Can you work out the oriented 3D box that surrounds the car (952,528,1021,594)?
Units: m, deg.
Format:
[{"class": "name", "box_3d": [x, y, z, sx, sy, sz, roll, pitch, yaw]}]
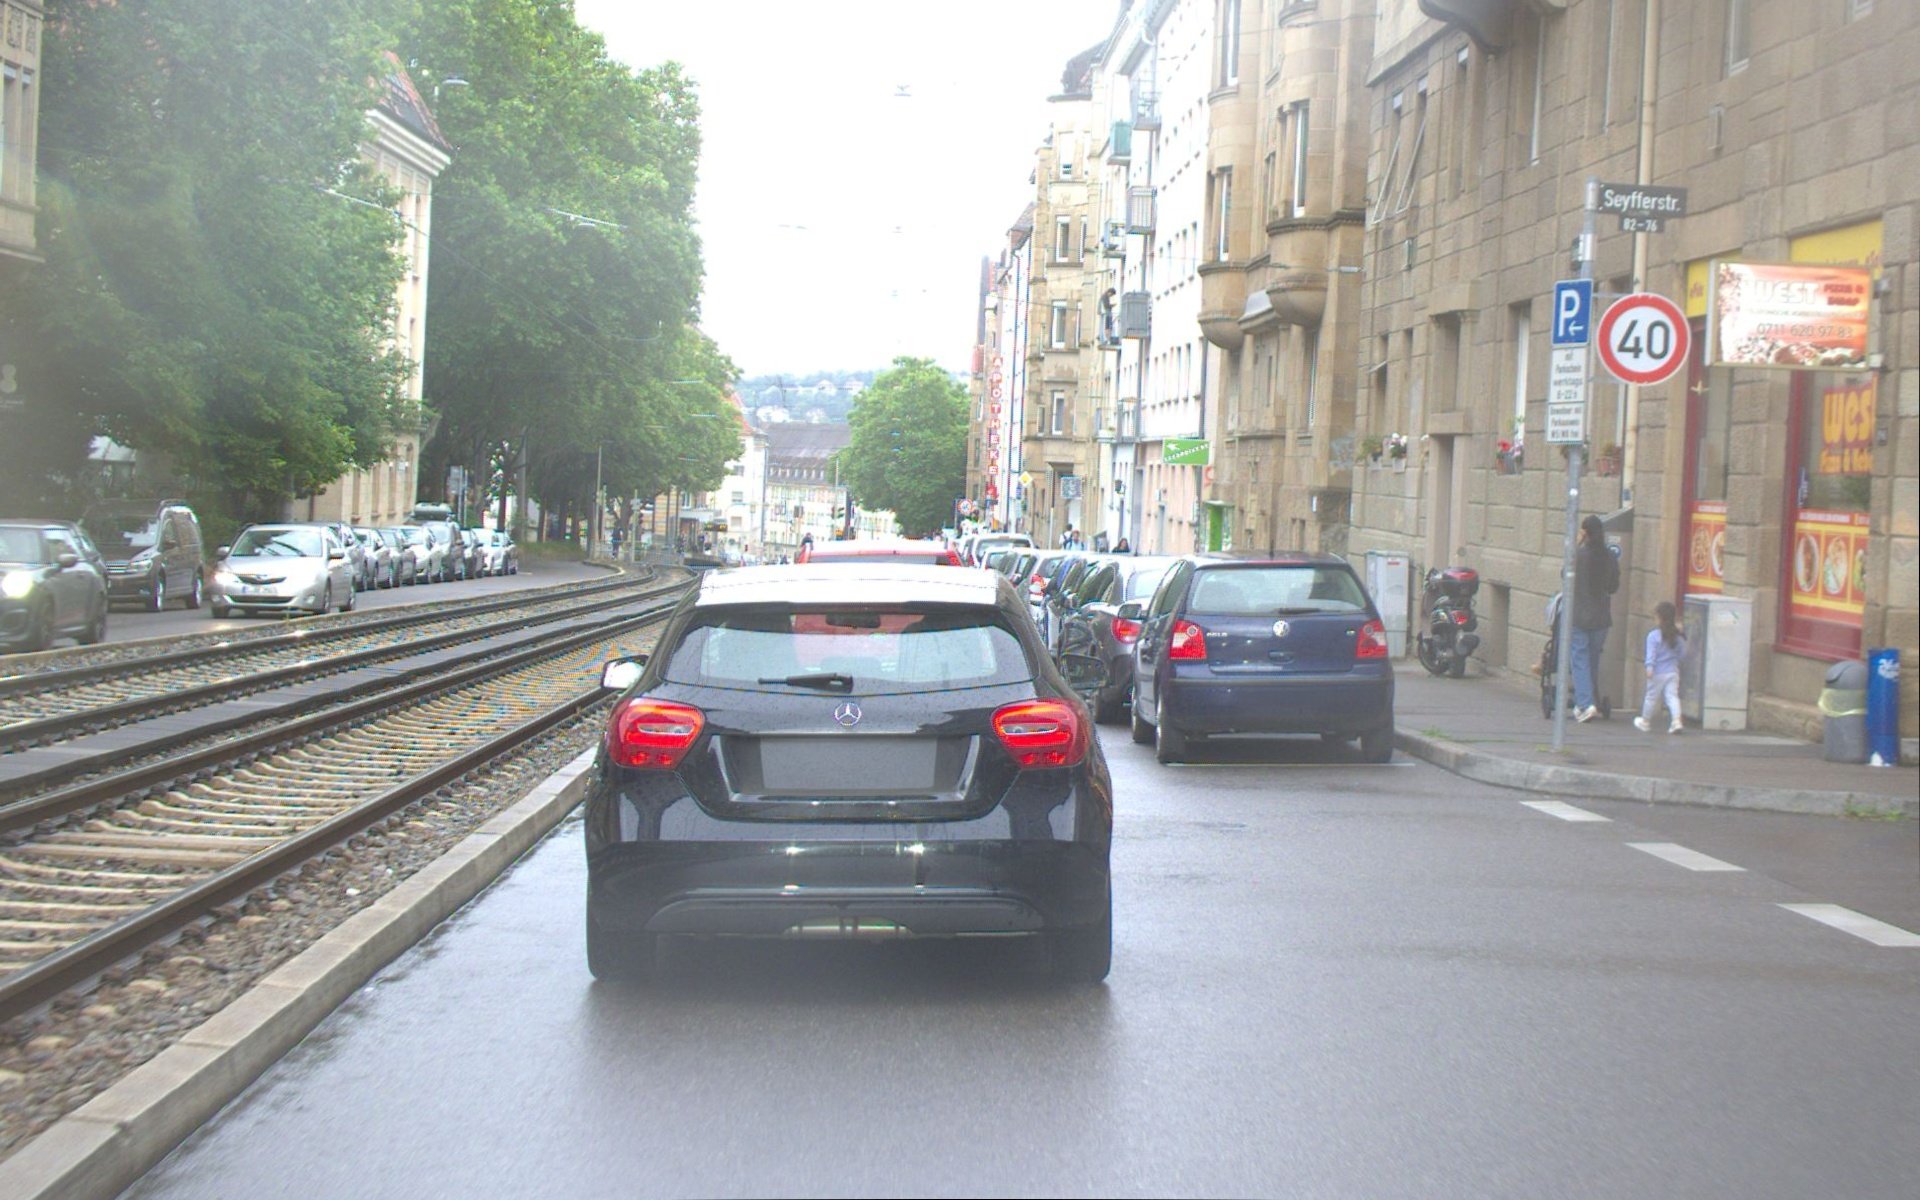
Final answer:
[{"class": "car", "box_3d": [0.733, -1.097, 96.040, 1.828, 1.744, 4.467, 2, 1, 0]}]

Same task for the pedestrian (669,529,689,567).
[{"class": "pedestrian", "box_3d": [-12.084, -2.224, 147.735, 0.806, 1.628, 0.892, 0, 1, 0]}]

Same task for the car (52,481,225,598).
[{"class": "car", "box_3d": [-13.535, -1.003, 56.891, 1.800, 1.840, 4.819, 1, 1, -1]}]

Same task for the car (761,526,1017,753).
[{"class": "car", "box_3d": [-0.545, 0.249, 26.607, 1.785, 1.575, 4.000, 2, 1, -1]}]

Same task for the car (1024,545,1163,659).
[{"class": "car", "box_3d": [1.734, 0.001, 45.496, 1.543, 1.410, 3.447, 2, 1, -2]}]

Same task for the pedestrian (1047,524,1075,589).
[{"class": "pedestrian", "box_3d": [2.885, -1.250, 98.429, 0.746, 1.827, 1.039, -1, 1, 0]}]

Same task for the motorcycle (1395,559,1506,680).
[{"class": "motorcycle", "box_3d": [5.201, 0.183, 36.581, 0.705, 1.194, 2.746, 2, 1, -1]}]

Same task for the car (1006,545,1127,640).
[{"class": "car", "box_3d": [1.675, -0.145, 54.972, 1.590, 1.429, 3.685, 1, 1, -3]}]

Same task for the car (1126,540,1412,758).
[{"class": "car", "box_3d": [2.149, 0.292, 24.787, 1.671, 1.439, 3.790, 0, 1, -1]}]

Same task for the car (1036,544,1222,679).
[{"class": "car", "box_3d": [1.937, 0.091, 40.579, 1.787, 1.457, 4.084, 2, 1, -2]}]

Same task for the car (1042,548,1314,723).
[{"class": "car", "box_3d": [1.818, 0.253, 30.014, 1.754, 1.382, 4.486, 0, 1, -4]}]

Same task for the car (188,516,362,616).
[{"class": "car", "box_3d": [-10.530, -0.540, 53.118, 1.981, 1.452, 4.295, 1, 1, -2]}]

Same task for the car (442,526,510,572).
[{"class": "car", "box_3d": [-14.742, -1.555, 104.823, 1.500, 1.386, 3.987, 0, 1, 0]}]

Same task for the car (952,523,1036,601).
[{"class": "car", "box_3d": [0.780, -0.918, 81.069, 1.790, 1.759, 4.212, 1, 1, -2]}]

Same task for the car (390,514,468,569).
[{"class": "car", "box_3d": [-13.838, -1.525, 89.746, 1.539, 1.409, 3.953, 0, 1, -2]}]

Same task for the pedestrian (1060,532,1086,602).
[{"class": "pedestrian", "box_3d": [2.845, -0.827, 86.487, 0.607, 1.757, 0.688, 0, 1, -2]}]

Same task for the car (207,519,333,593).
[{"class": "car", "box_3d": [-13.975, -0.912, 69.802, 1.849, 1.459, 4.551, 0, 1, -3]}]

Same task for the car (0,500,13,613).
[{"class": "car", "box_3d": [-13.706, -0.572, 44.812, 1.695, 1.518, 3.855, 1, 1, -1]}]

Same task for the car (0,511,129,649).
[{"class": "car", "box_3d": [-10.184, -0.253, 36.481, 1.704, 1.383, 3.781, 1, 1, 2]}]

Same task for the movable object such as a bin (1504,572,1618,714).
[{"class": "movable object such as a bin", "box_3d": [4.891, 0.340, 28.017, 0.665, 1.099, 1.124, 2, 1, -1]}]

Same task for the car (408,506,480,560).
[{"class": "car", "box_3d": [-14.528, -1.884, 96.920, 1.539, 1.500, 4.155, 0, 1, -2]}]

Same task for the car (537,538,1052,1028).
[{"class": "car", "box_3d": [-0.568, 0.545, 12.610, 1.580, 1.499, 3.575, 2, 1, -2]}]

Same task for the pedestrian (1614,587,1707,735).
[{"class": "pedestrian", "box_3d": [5.103, 0.437, 25.074, 0.510, 1.046, 0.627, 2, 1, -1]}]

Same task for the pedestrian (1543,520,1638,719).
[{"class": "pedestrian", "box_3d": [4.962, 0.146, 27.087, 0.561, 1.530, 0.710, 2, 1, -1]}]

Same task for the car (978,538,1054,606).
[{"class": "car", "box_3d": [1.233, -0.645, 76.740, 1.570, 1.457, 3.600, 1, 1, -1]}]

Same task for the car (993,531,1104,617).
[{"class": "car", "box_3d": [1.523, -0.473, 60.148, 1.667, 1.429, 3.957, 1, 1, -2]}]
